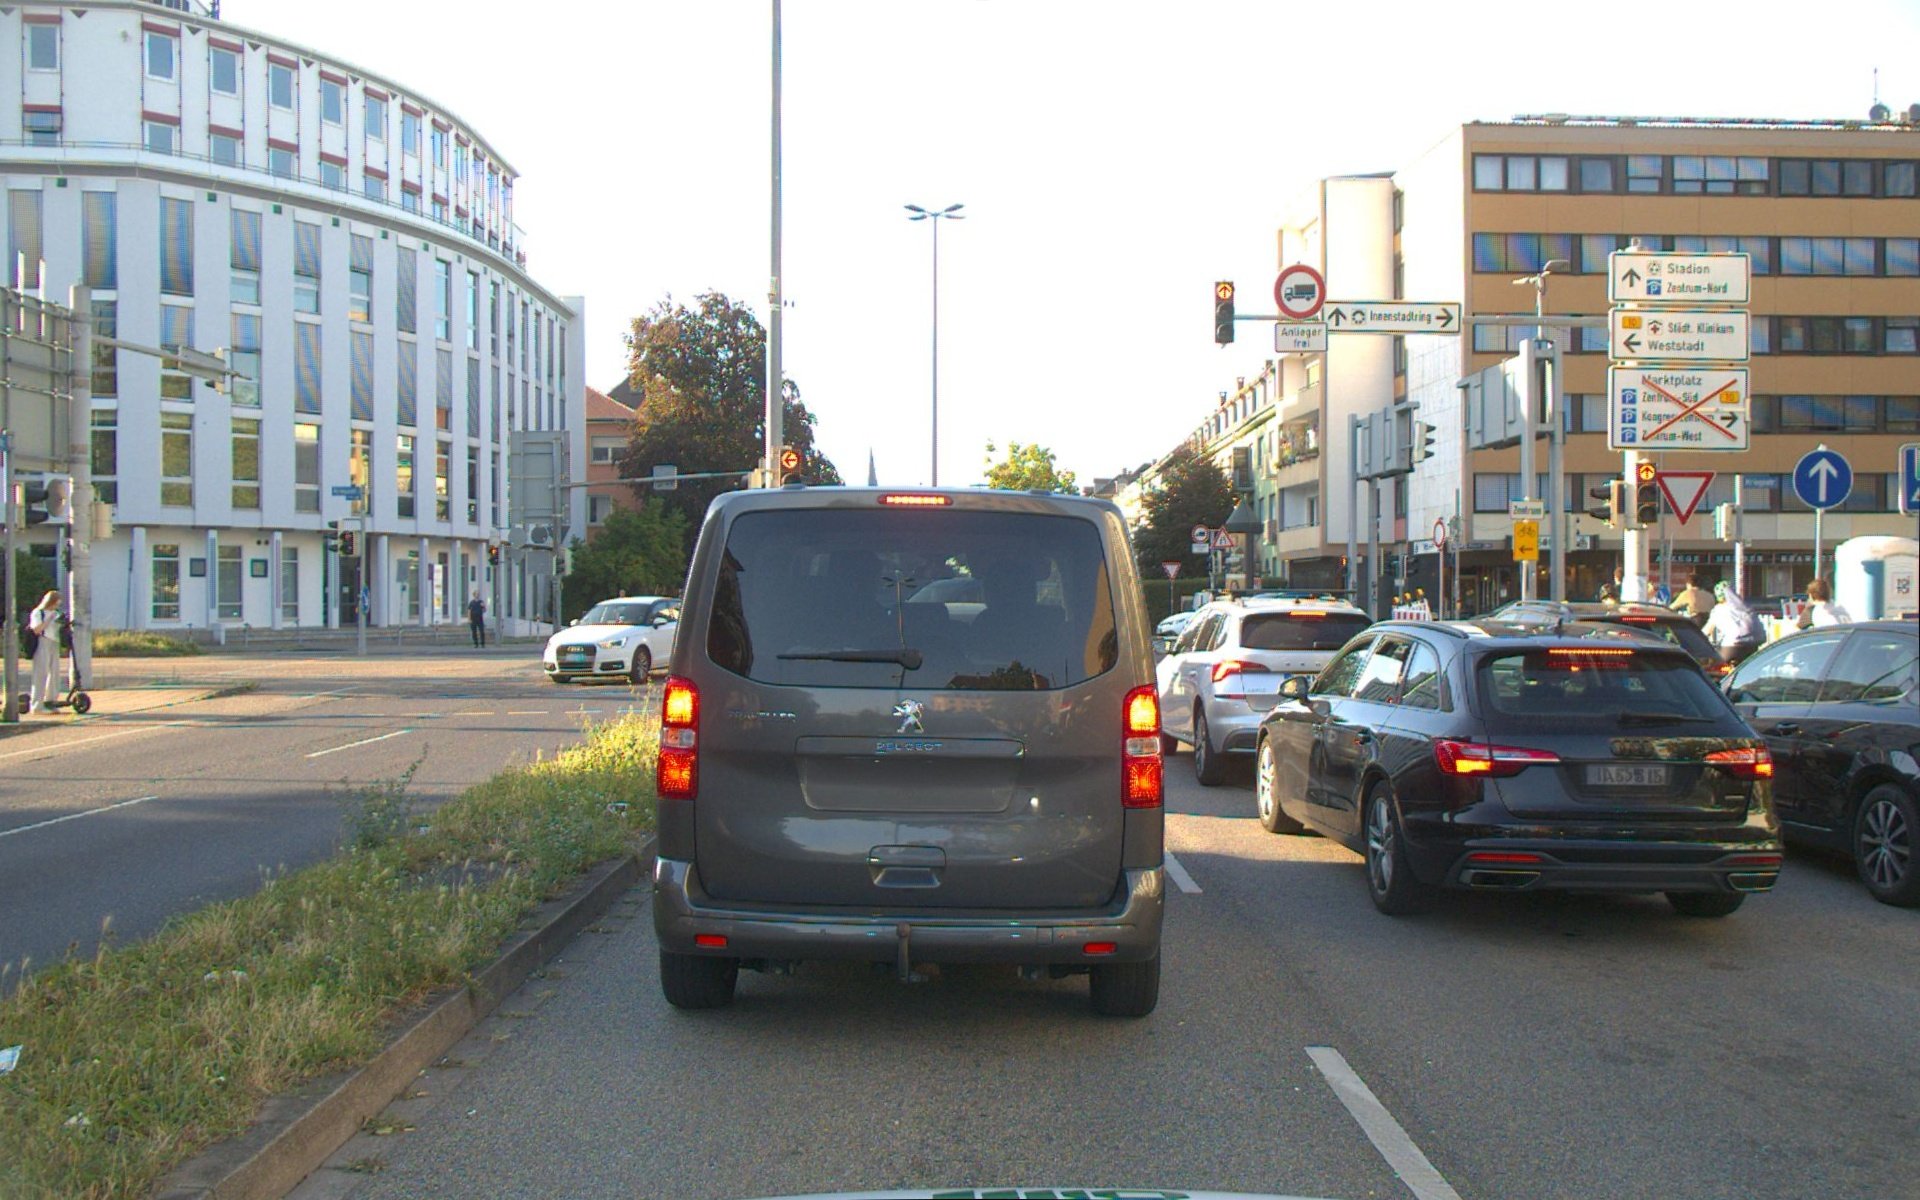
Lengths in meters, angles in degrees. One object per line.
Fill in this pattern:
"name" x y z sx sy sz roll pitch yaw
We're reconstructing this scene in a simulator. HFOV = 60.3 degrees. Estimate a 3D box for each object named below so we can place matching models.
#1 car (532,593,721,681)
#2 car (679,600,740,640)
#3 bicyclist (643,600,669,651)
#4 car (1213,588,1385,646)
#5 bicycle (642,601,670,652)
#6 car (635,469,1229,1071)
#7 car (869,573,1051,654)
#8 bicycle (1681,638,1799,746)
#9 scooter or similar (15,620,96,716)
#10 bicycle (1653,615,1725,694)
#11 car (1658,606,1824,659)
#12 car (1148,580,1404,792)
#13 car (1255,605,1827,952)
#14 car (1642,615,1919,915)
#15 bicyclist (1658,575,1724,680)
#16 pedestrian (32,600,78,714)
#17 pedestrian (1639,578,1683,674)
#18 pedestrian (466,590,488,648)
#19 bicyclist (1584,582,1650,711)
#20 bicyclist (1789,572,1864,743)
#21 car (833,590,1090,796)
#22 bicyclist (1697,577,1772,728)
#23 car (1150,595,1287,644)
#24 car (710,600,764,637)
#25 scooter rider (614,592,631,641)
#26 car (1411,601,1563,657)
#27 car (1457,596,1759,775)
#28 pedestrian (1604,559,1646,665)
"car" -5.815 0.611 29.288 1.656 1.412 3.688 -1 0 18
"car" -9.401 0.721 62.328 1.819 1.445 3.998 0 0 -2
"bicyclist" -12.367 1.033 67.329 0.816 2.049 1.064 1 -1 1
"car" 8.937 0.429 43.726 4.158 1.467 1.696 -1 0 -15
"bicycle" -12.365 1.063 67.323 0.700 2.049 2.563 0 0 -1
"car" -0.120 0.543 7.569 1.868 1.896 4.525 1 0 -1
"car" 0.042 0.292 39.693 4.197 1.849 1.968 -1 0 -44
"bicycle" 8.132 0.933 17.307 0.329 1.025 1.855 0 0 -1
"scooter or similar" -12.157 0.905 22.245 0.877 1.255 0.370 0 0 -12
"bicycle" 11.593 0.849 26.354 0.365 1.181 1.498 1 1 -4
"car" 22.053 0.902 46.801 3.905 1.443 1.682 0 0 0
"car" 2.696 0.670 14.858 1.498 1.641 3.744 1 0 -1
"car" 2.888 0.779 9.250 1.647 1.446 4.213 1 0 -1
"car" 5.619 0.861 9.740 1.600 1.474 3.744 1 0 -1
"bicyclist" 11.575 0.422 26.211 0.606 1.616 0.813 1 1 -6
"pedestrian" -12.252 0.763 22.388 0.466 1.532 0.334 0 0 -13
"pedestrian" 12.548 0.459 29.614 0.589 1.700 0.454 0 0 1
"pedestrian" -14.808 0.575 50.680 0.615 1.752 0.669 0 0 -15
"bicyclist" 8.065 0.563 20.325 0.503 1.552 0.725 0 0 -1
"bicyclist" 7.974 0.520 15.229 0.432 1.552 0.482 0 0 -1
"car" -0.016 0.701 14.617 1.953 1.557 3.999 0 0 -1
"bicyclist" 8.137 0.541 17.390 0.432 1.552 0.725 0 0 -1
"car" 7.566 0.565 48.578 3.709 1.396 1.648 0 0 -7
"car" -9.110 0.741 67.858 1.819 1.445 3.998 0 0 -2
"scooter rider" -11.853 0.575 58.113 0.471 1.727 0.636 0 0 -1
"car" 15.951 0.851 50.149 4.039 1.622 1.793 0 0 -6
"car" 5.886 0.710 15.403 1.474 1.474 3.304 0 0 -1
"pedestrian" 11.873 0.216 29.539 0.558 1.866 0.487 0 0 1
